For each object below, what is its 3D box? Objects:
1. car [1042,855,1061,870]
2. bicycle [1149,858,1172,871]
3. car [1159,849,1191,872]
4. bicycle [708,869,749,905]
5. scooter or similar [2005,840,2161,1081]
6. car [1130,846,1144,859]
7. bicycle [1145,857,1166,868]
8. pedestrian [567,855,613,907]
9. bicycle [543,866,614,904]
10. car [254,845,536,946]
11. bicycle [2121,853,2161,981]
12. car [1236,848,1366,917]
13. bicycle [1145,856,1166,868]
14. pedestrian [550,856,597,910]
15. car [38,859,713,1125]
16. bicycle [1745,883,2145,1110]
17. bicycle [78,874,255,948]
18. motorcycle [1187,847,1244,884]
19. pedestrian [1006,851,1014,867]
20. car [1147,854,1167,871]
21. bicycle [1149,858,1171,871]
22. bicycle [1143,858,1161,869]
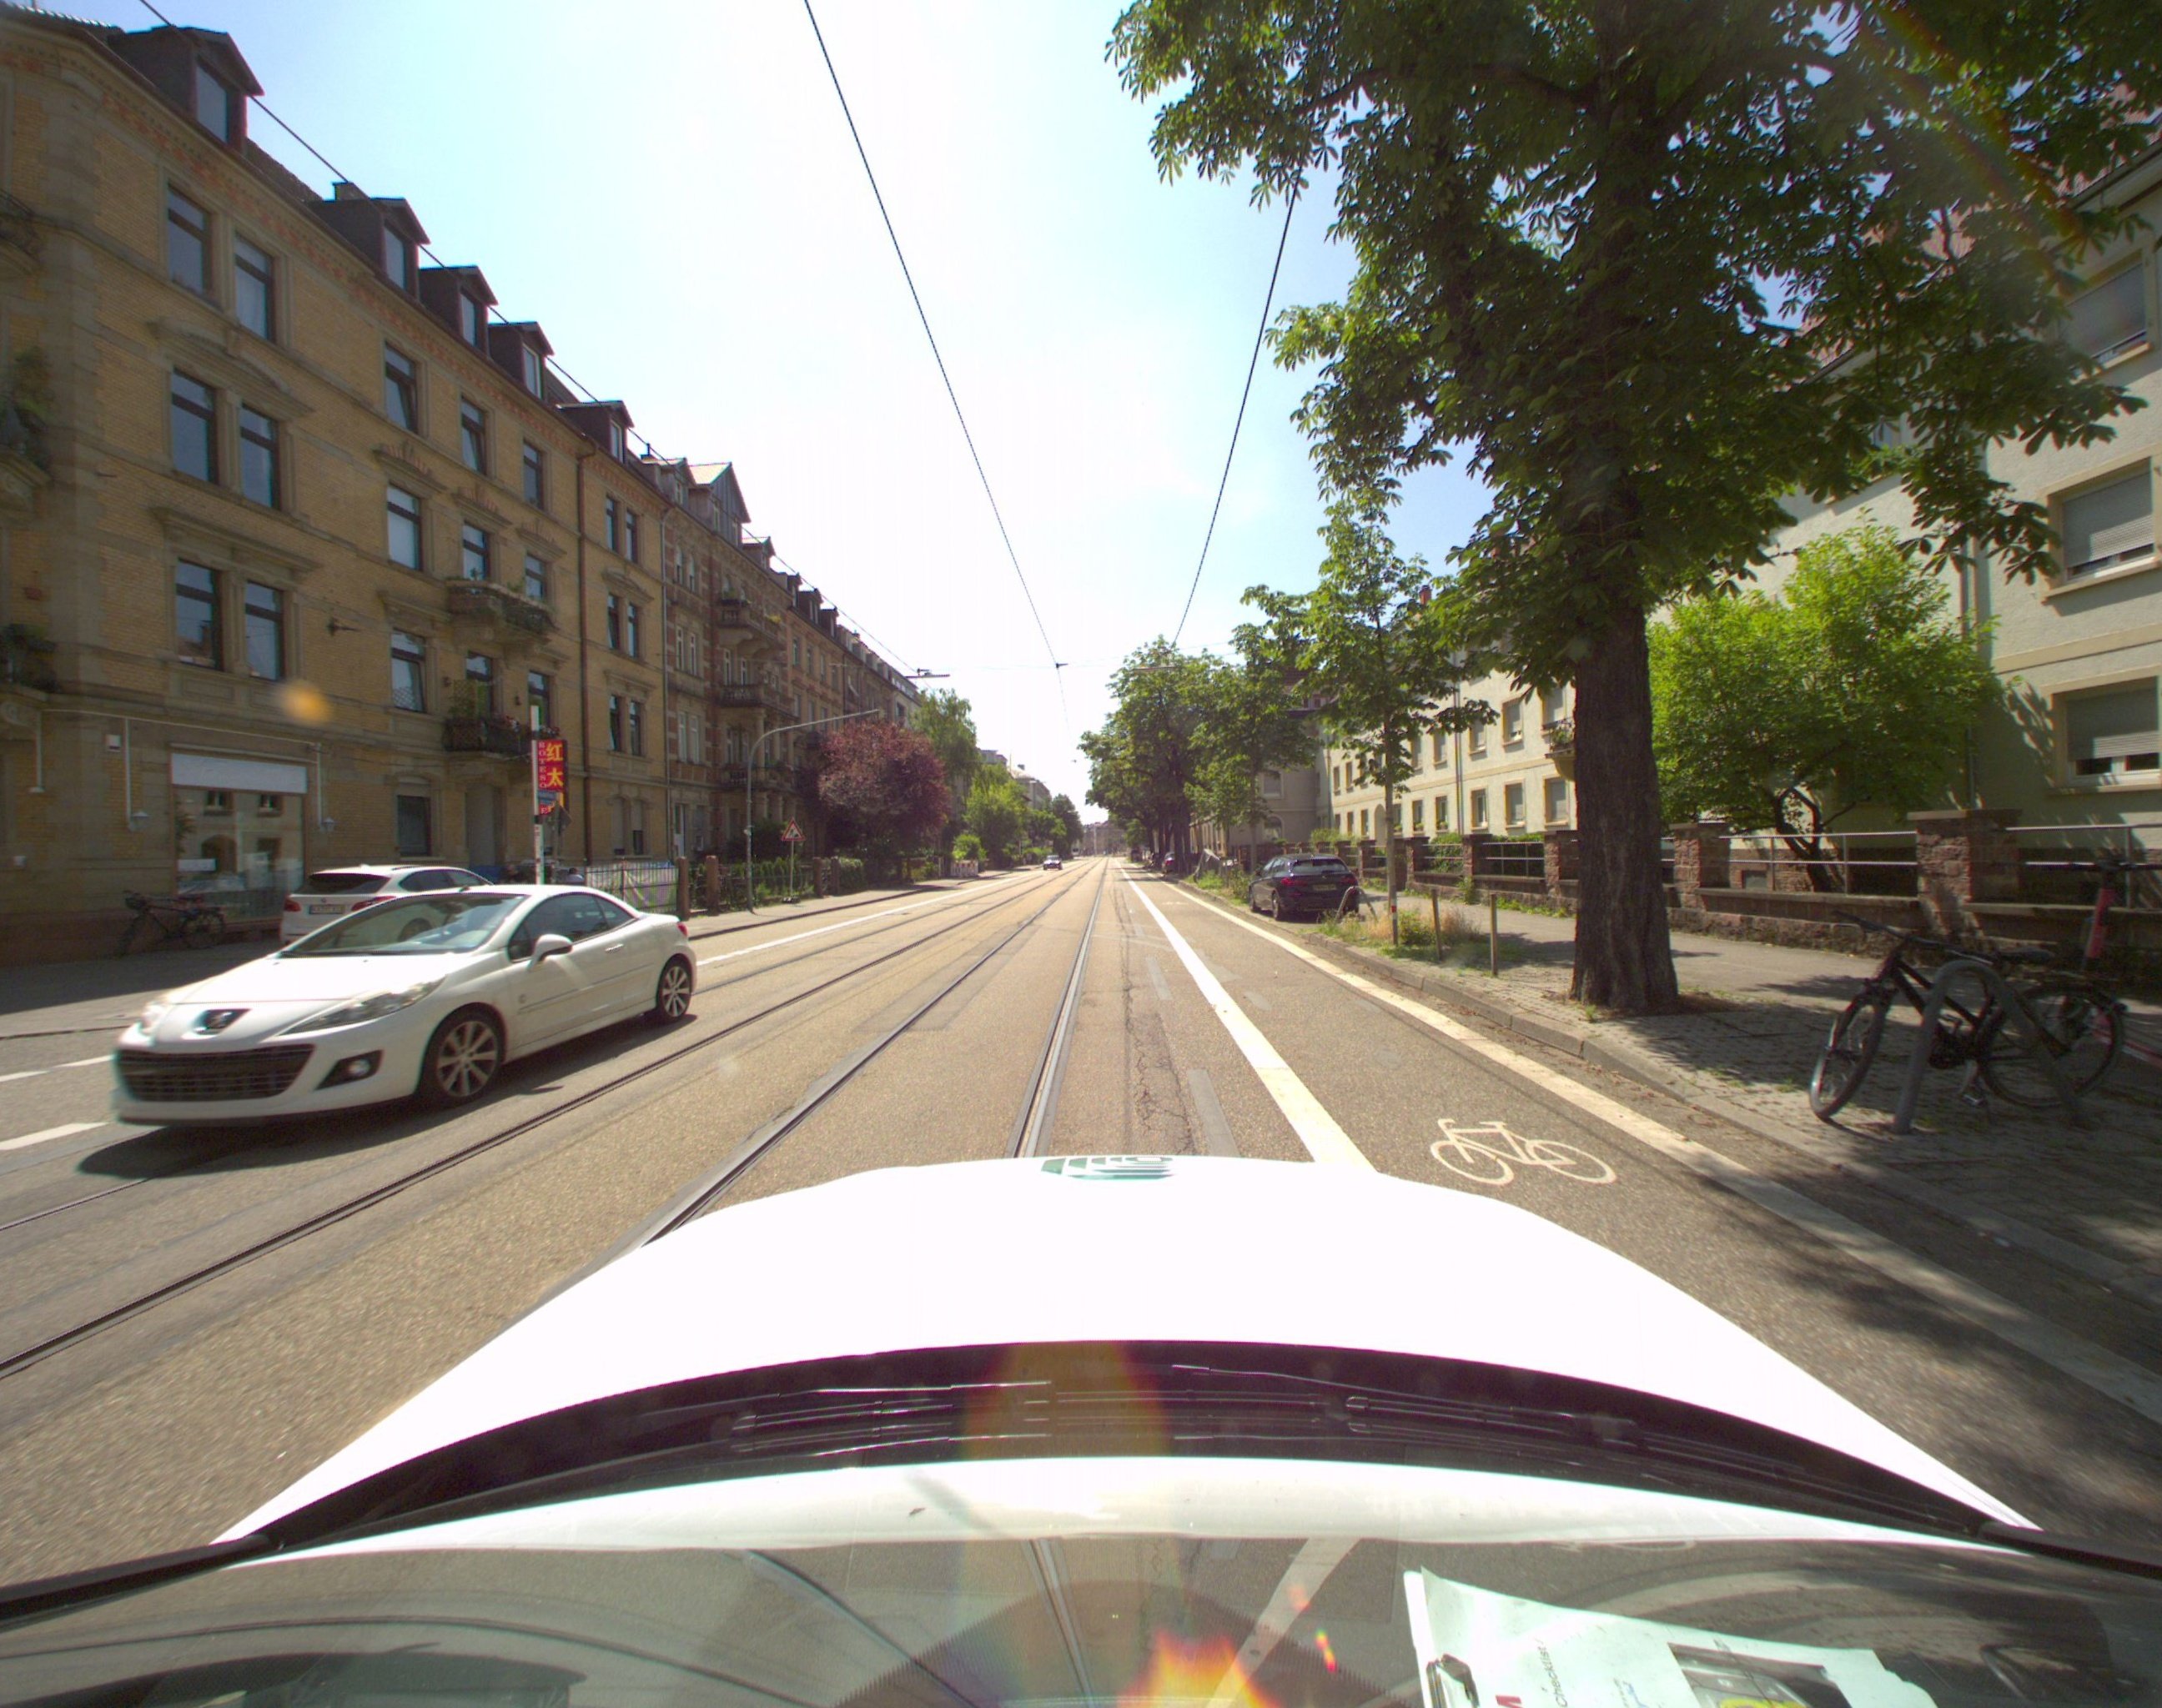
[{"bbox_3d":[-2.906,0.852,80.688,1.680,1.454,3.749,0,0,2],"label":"car"},{"bbox_3d":[6.924,0.891,70.584,1.952,1.063,0.600,0,-1,8],"label":"bicycle"},{"bbox_3d":[6.448,0.437,56.315,1.768,1.501,4.306,-2,0,1],"label":"car"},{"bbox_3d":[-10.441,0.961,24.163,0.452,1.003,1.805,0,0,-1],"label":"bicycle"},{"bbox_3d":[6.099,0.566,4.885,0.375,1.212,1.256,-1,4,32],"label":"scooter or similar"},{"bbox_3d":[8.950,-0.203,130.745,1.985,2.035,4.699,-1,0,2],"label":"car"},{"bbox_3d":[7.294,0.834,80.006,2.001,1.113,0.640,-1,-2,4],"label":"bicycle"},{"bbox_3d":[-12.734,0.700,21.141,0.708,1.298,0.711,-2,0,-3],"label":"pedestrian"},{"bbox_3d":[-13.635,0.834,22.111,1.697,1.003,0.474,0,-1,4],"label":"bicycle"},{"bbox_3d":[-12.365,0.681,15.120,1.861,1.600,4.097,1,0,-3],"label":"car"},{"bbox_3d":[9.323,0.531,6.163,0.477,1.078,1.925,0,0,2],"label":"bicycle"},{"bbox_3d":[5.062,0.591,19.449,1.763,1.426,4.860,-1,0,-1],"label":"car"},{"bbox_3d":[7.256,0.828,79.342,1.954,1.113,0.599,-1,-2,4],"label":"bicycle"},{"bbox_3d":[-12.696,0.716,20.391,0.708,1.298,0.711,-2,0,-3],"label":"pedestrian"},{"bbox_3d":[-4.782,0.772,6.461,1.749,1.424,4.002,-1,0,2],"label":"car"},{"bbox_3d":[4.621,0.716,4.406,1.650,1.078,0.605,-1,0,-6],"label":"bicycle"},{"bbox_3d":[-16.397,0.984,14.703,0.635,1.187,2.147,0,0,5],"label":"bicycle"},{"bbox_3d":[5.720,0.479,34.705,2.292,1.540,0.874,0,0,45],"label":"motorcycle"},{"bbox_3d":[-7.436,0.555,84.993,0.749,1.629,0.833,0,-1,-2],"label":"pedestrian"},{"bbox_3d":[6.960,0.802,74.854,1.616,1.448,3.811,-3,-1,2],"label":"car"},{"bbox_3d":[6.792,0.895,70.213,1.879,1.052,0.539,0,-1,8],"label":"bicycle"},{"bbox_3d":[7.340,0.967,84.194,1.809,1.113,0.493,-1,-2,1],"label":"bicycle"}]
